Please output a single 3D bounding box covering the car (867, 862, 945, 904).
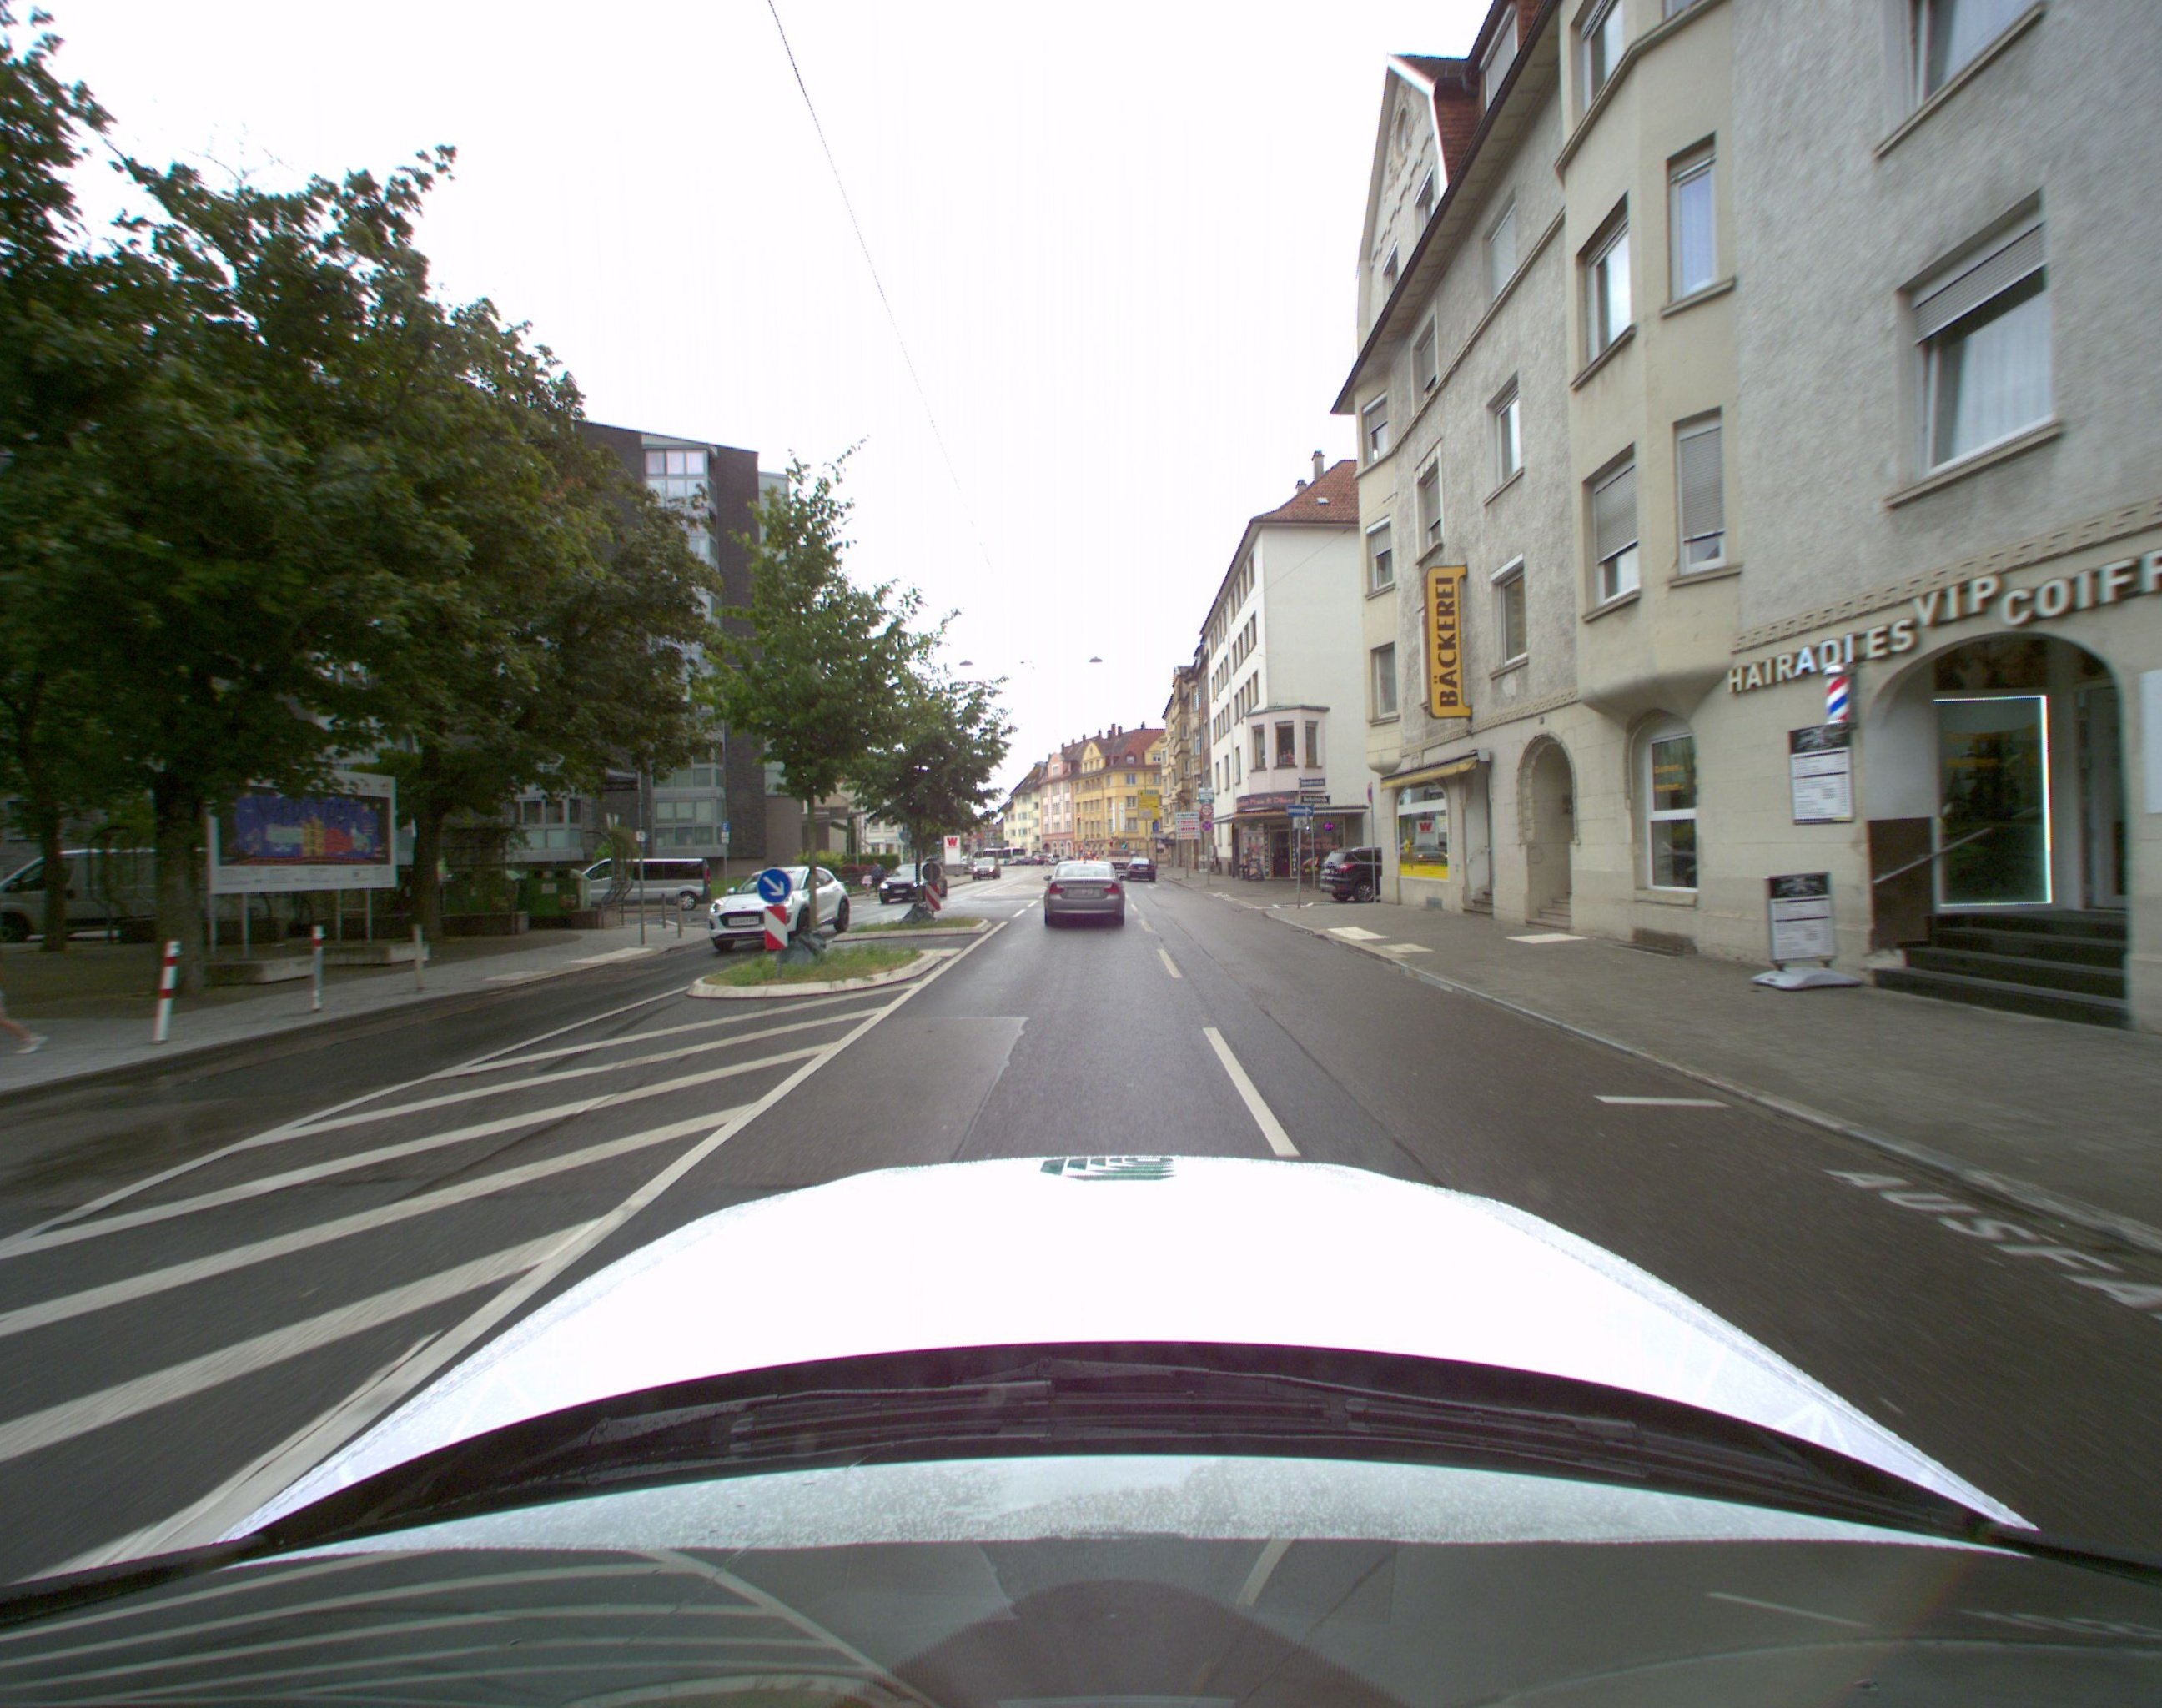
[{"bbox_3d":[-6.767,1.080,31.983,2.006,1.425,4.501,-1,0,1],"label":"car"}]

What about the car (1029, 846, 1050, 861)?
[{"bbox_3d":[-6.071,-0.056,118.668,2.000,2.013,3.973,-2,0,-20],"label":"car"}]

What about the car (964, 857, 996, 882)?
[{"bbox_3d":[-7.777,1.146,62.433,1.950,1.659,4.040,-4,1,-12],"label":"car"}]

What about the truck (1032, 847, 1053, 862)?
[{"bbox_3d":[-6.537,0.109,137.689,2.036,2.389,4.203,-1,1,-24],"label":"truck"}]

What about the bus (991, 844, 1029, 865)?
[{"bbox_3d":[-11.558,0.131,132.102,2.925,3.105,9.062,-2,0,-27],"label":"bus"}]

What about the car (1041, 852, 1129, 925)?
[{"bbox_3d":[0.090,0.738,18.964,1.793,1.464,4.370,-1,-1,0],"label":"car"}]

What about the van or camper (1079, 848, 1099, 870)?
[{"bbox_3d":[0.800,0.473,83.231,1.850,2.146,4.139,-1,0,-2],"label":"van or camper"}]

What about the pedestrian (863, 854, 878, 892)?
[{"bbox_3d":[-9.745,0.877,37.724,0.573,1.762,0.580,-2,0,-6],"label":"pedestrian"}]

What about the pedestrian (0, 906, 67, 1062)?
[{"bbox_3d":[-10.216,1.226,7.778,0.432,1.410,0.481,-1,0,-3],"label":"pedestrian"}]

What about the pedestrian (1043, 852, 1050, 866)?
[{"bbox_3d":[-4.044,0.597,94.962,0.763,1.529,0.505,0,-1,-20],"label":"pedestrian"}]

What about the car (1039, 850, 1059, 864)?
[{"bbox_3d":[-5.192,0.461,132.377,1.770,2.180,3.968,1,-1,-24],"label":"car"}]

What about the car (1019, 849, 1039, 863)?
[{"bbox_3d":[-7.995,0.274,124.201,2.001,2.013,3.973,-2,0,-20],"label":"car"}]

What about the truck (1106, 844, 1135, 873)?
[{"bbox_3d":[3.249,0.366,67.585,2.217,2.249,5.063,-1,0,1],"label":"truck"}]

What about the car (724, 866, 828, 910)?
[{"bbox_3d":[-12.052,1.291,32.249,3.602,1.569,1.723,-1,0,-32],"label":"car"}]

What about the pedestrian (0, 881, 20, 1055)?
[{"bbox_3d":[-10.710,1.111,7.743,0.496,1.673,0.552,-1,0,-3],"label":"pedestrian"}]

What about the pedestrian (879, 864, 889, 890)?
[{"bbox_3d":[-9.152,1.066,37.850,0.408,1.198,0.310,-2,0,-6],"label":"pedestrian"}]

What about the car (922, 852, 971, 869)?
[{"bbox_3d":[-13.071,0.605,79.346,4.437,1.526,1.883,-2,0,-4],"label":"car"}]

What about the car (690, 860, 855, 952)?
[{"bbox_3d":[-6.270,0.979,17.099,1.814,1.569,4.088,-3,0,0],"label":"car"}]

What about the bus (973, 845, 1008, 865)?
[{"bbox_3d":[-15.663,0.219,139.994,2.925,3.105,8.792,-2,0,-27],"label":"bus"}]

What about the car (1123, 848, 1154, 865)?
[{"bbox_3d":[6.672,0.268,94.508,1.974,2.013,4.025,-1,0,30],"label":"car"}]

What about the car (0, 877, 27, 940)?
[{"bbox_3d":[-31.892,1.577,21.784,4.006,1.728,1.984,-2,0,-25],"label":"car"}]

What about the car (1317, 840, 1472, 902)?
[{"bbox_3d":[9.533,0.509,25.030,4.115,1.772,1.877,-1,0,8],"label":"car"}]

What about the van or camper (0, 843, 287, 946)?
[{"bbox_3d":[-22.826,0.896,19.740,4.629,2.266,2.192,1,0,-28],"label":"van or camper"}]

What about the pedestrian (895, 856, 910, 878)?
[{"bbox_3d":[-14.085,0.998,64.266,0.752,1.685,0.745,-2,0,-44],"label":"pedestrian"}]

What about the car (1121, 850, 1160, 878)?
[{"bbox_3d":[3.469,0.613,48.240,1.795,1.563,3.996,-1,-1,-3],"label":"car"}]

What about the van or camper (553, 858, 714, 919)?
[{"bbox_3d":[-16.210,1.194,29.733,4.980,2.013,1.982,-1,0,-29],"label":"van or camper"}]
